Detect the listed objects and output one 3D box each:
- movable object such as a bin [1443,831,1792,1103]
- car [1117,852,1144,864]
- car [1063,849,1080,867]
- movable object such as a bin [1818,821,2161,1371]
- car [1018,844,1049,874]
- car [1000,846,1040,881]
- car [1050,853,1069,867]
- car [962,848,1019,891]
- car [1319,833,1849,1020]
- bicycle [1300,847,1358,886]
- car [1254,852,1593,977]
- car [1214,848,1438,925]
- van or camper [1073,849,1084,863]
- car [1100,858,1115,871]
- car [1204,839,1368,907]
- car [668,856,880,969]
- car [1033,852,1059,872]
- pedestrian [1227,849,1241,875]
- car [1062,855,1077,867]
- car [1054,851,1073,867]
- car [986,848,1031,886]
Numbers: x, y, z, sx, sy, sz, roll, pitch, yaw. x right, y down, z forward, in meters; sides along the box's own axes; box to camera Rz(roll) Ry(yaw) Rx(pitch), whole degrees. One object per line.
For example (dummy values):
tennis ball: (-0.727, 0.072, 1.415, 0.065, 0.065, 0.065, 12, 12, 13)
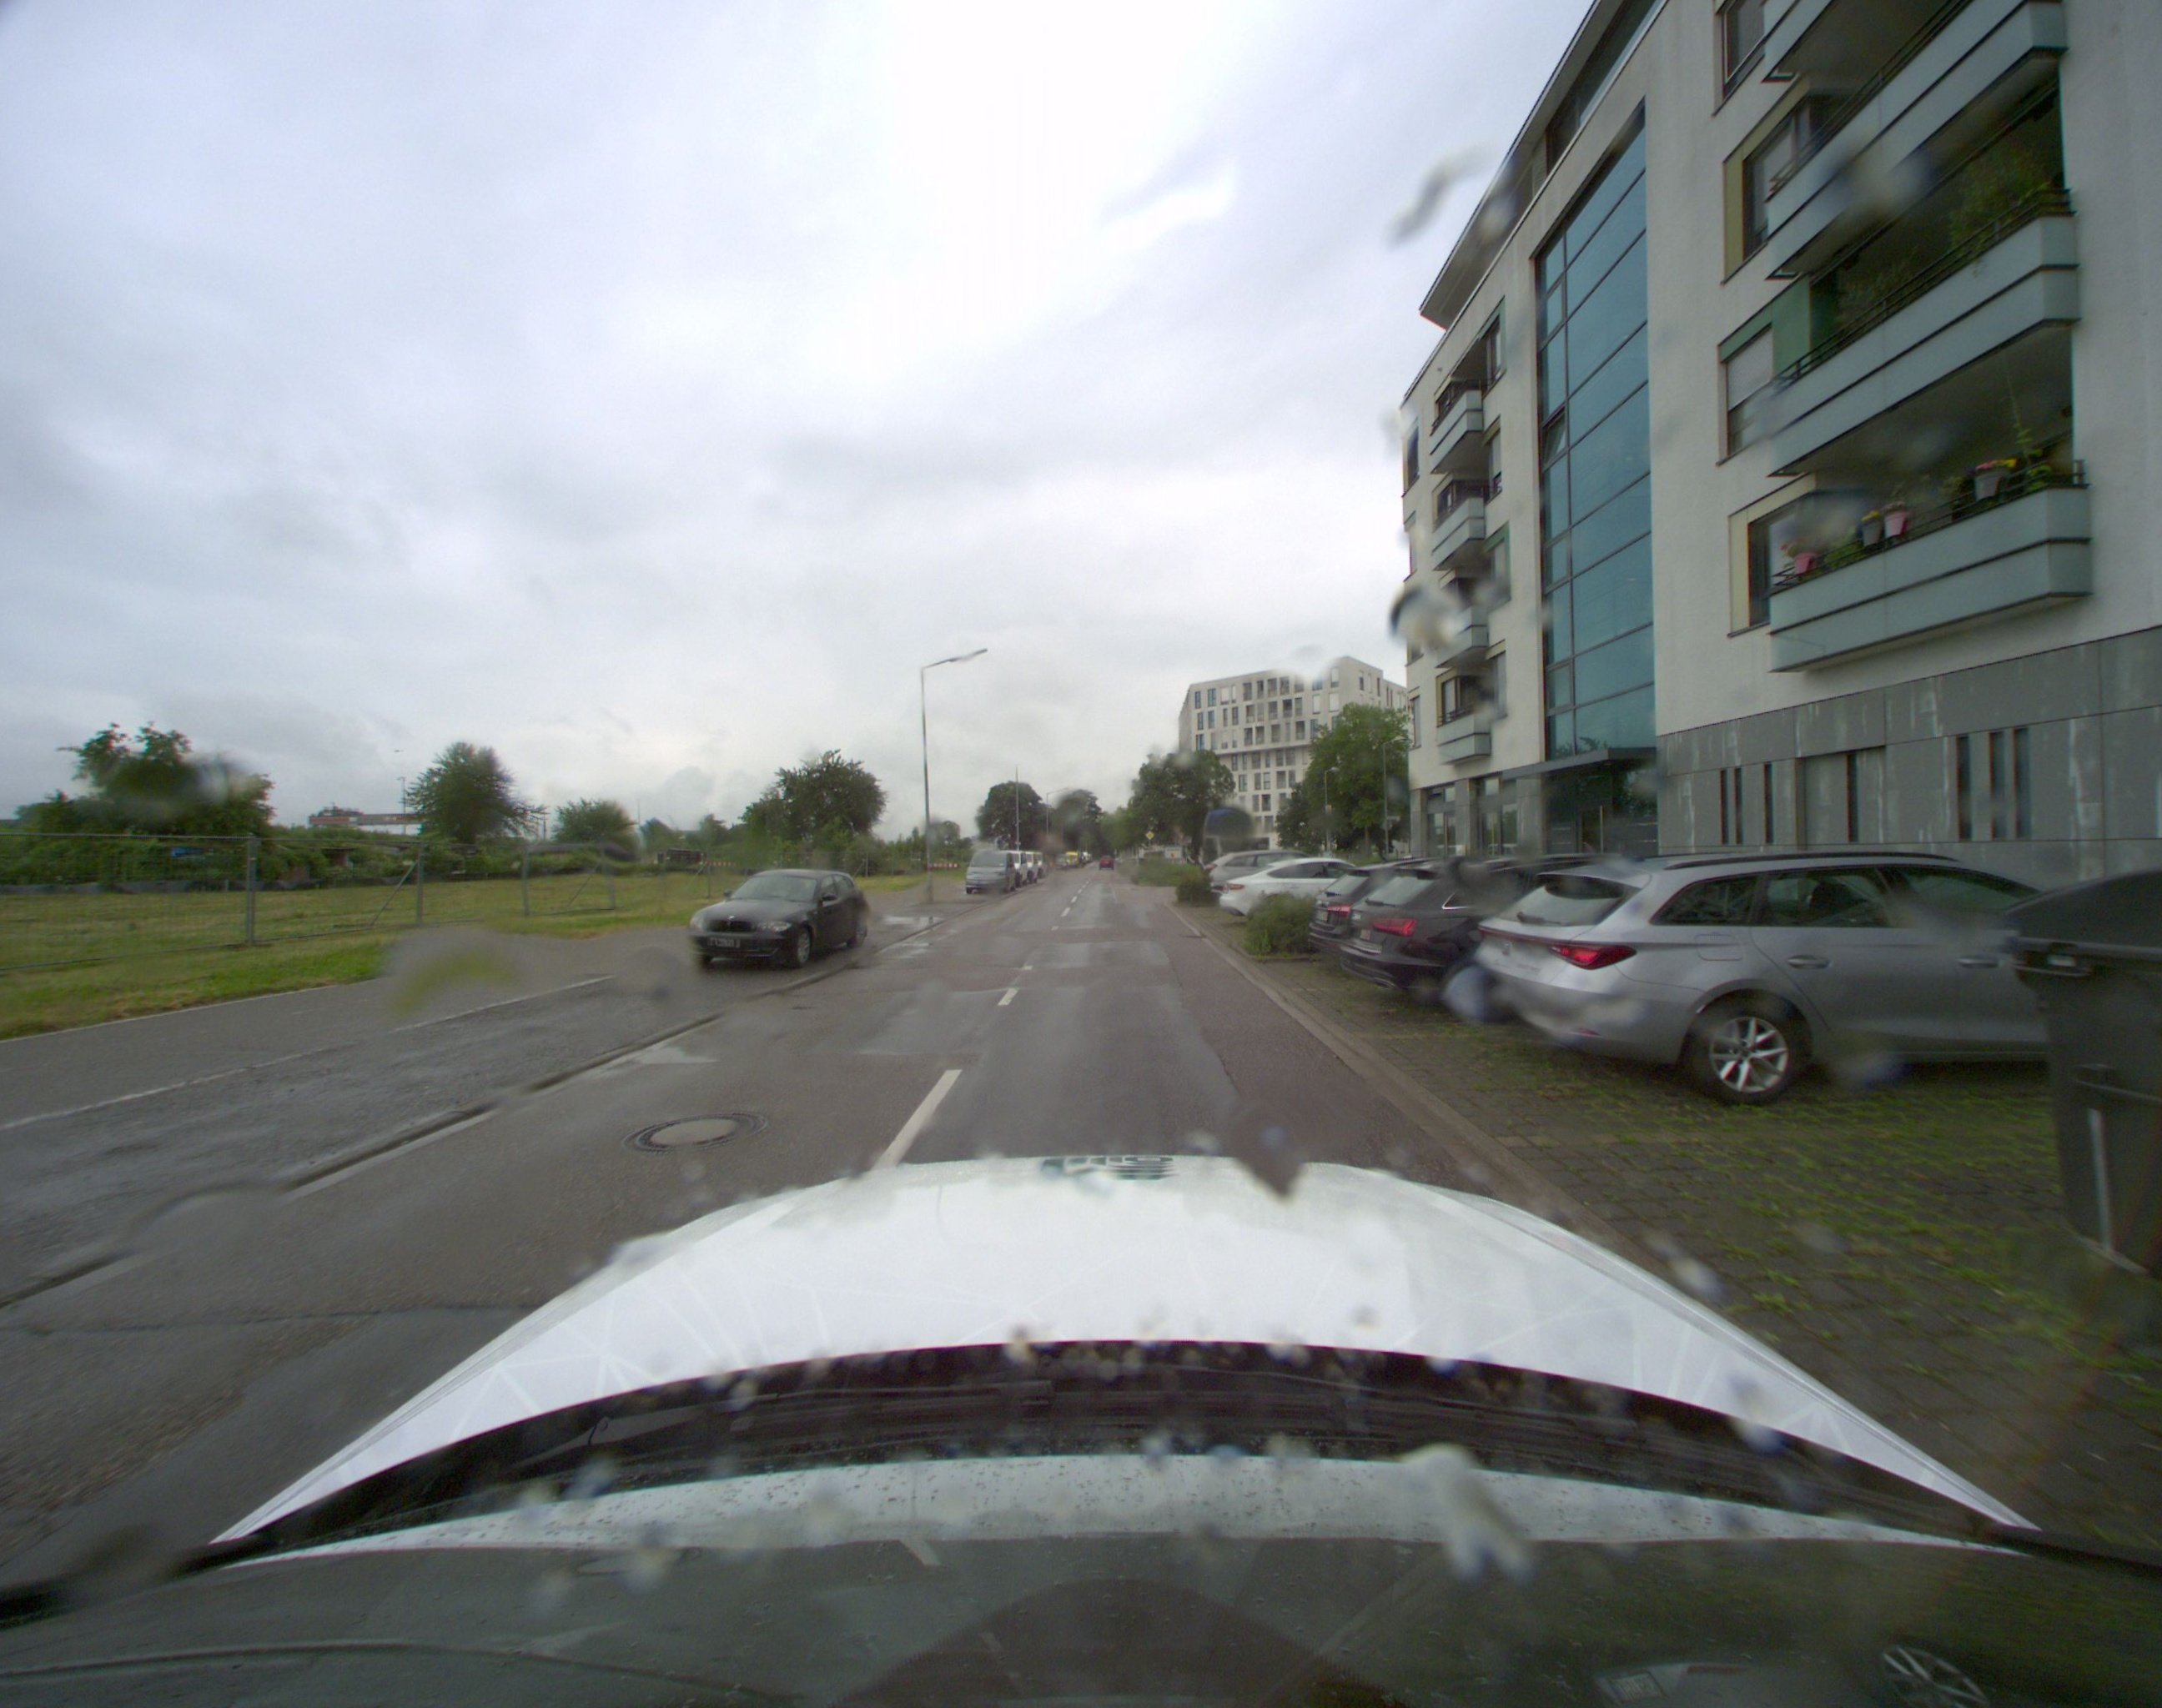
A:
movable object such as a bin: (3.457, 0.655, 5.512, 1.295, 1.526, 1.582, -2, 0, 2)
car: (8.936, 0.790, 146.587, 4.527, 1.685, 1.885, -6, 0, -2)
car: (-1.496, 0.685, 128.407, 2.182, 2.694, 6.086, 2, 0, 3)
movable object such as a bin: (3.635, 0.654, 2.499, 1.295, 1.526, 1.582, -2, 0, 2)
car: (-3.646, 0.398, 63.593, 1.935, 2.236, 5.559, -1, 0, 1)
car: (-3.801, 0.570, 51.938, 1.952, 2.058, 5.277, 0, 0, 2)
car: (-2.370, 0.655, 91.657, 1.797, 1.561, 4.035, 2, 0, 2)
car: (-4.157, 0.672, 38.309, 1.948, 1.901, 4.997, 0, 0, 2)
car: (4.725, 0.645, 8.224, 4.045, 1.496, 2.059, -2, 0, 2)
bicycle: (10.087, 0.514, 33.175, 2.168, 1.522, 0.634, -2, -1, 22)
car: (4.635, 0.783, 11.489, 3.974, 1.479, 1.879, -2, 0, 0)
car: (5.314, 0.683, 18.103, 4.393, 1.405, 1.911, -3, 0, 1)
van or camper: (-0.469, 0.398, 168.260, 2.088, 2.716, 7.572, 2, -1, 0)
car: (3.266, 1.308, 102.181, 1.750, 1.706, 3.999, 0, 0, 0)
car: (5.691, 0.529, 22.997, 4.076, 1.623, 1.966, -3, 0, 0)
car: (-4.904, 0.840, 13.735, 1.840, 1.561, 4.154, 2, 0, 2)
car: (-3.183, 0.717, 75.060, 1.932, 1.767, 4.335, -1, 0, 3)
pedestrian: (11.947, 0.628, 63.473, 0.961, 2.013, 0.623, -1, 0, 1)
car: (-1.654, 0.971, 116.745, 1.987, 1.594, 5.017, 2, -1, 1)
car: (-2.196, 0.603, 104.454, 2.010, 1.956, 6.067, 1, 0, 1)
car: (-4.038, 0.686, 46.321, 1.887, 2.013, 5.260, -1, 0, 2)
